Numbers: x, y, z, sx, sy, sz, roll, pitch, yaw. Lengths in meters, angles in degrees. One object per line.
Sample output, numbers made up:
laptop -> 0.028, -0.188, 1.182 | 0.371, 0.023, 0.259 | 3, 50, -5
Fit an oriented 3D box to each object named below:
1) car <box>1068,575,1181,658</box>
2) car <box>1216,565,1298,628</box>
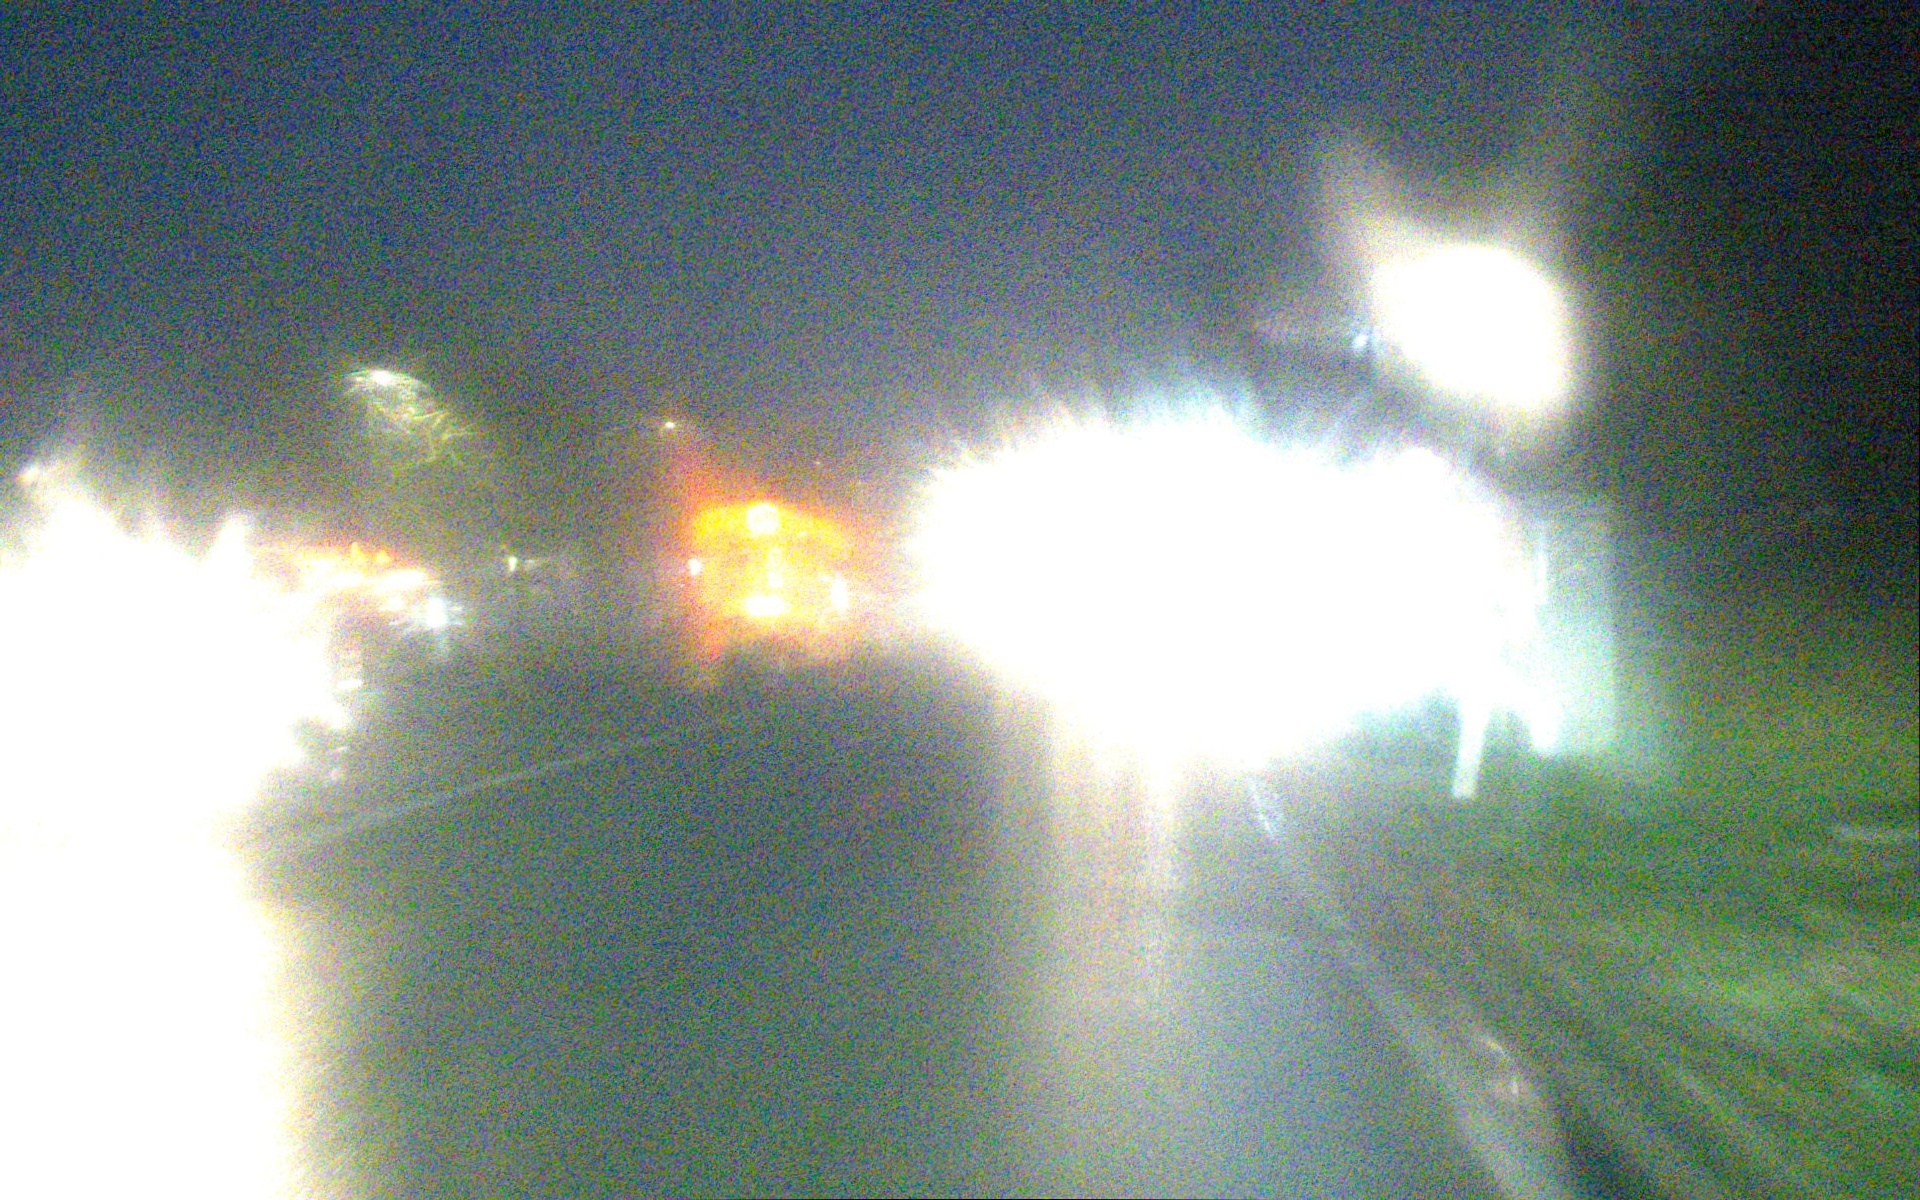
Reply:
car -> 3.316, 0.341, 68.617 | 1.994, 1.596, 3.999 | 0, -1, 7
car -> 7.746, -0.063, 89.444 | 1.994, 1.596, 3.999 | 0, -1, 7
